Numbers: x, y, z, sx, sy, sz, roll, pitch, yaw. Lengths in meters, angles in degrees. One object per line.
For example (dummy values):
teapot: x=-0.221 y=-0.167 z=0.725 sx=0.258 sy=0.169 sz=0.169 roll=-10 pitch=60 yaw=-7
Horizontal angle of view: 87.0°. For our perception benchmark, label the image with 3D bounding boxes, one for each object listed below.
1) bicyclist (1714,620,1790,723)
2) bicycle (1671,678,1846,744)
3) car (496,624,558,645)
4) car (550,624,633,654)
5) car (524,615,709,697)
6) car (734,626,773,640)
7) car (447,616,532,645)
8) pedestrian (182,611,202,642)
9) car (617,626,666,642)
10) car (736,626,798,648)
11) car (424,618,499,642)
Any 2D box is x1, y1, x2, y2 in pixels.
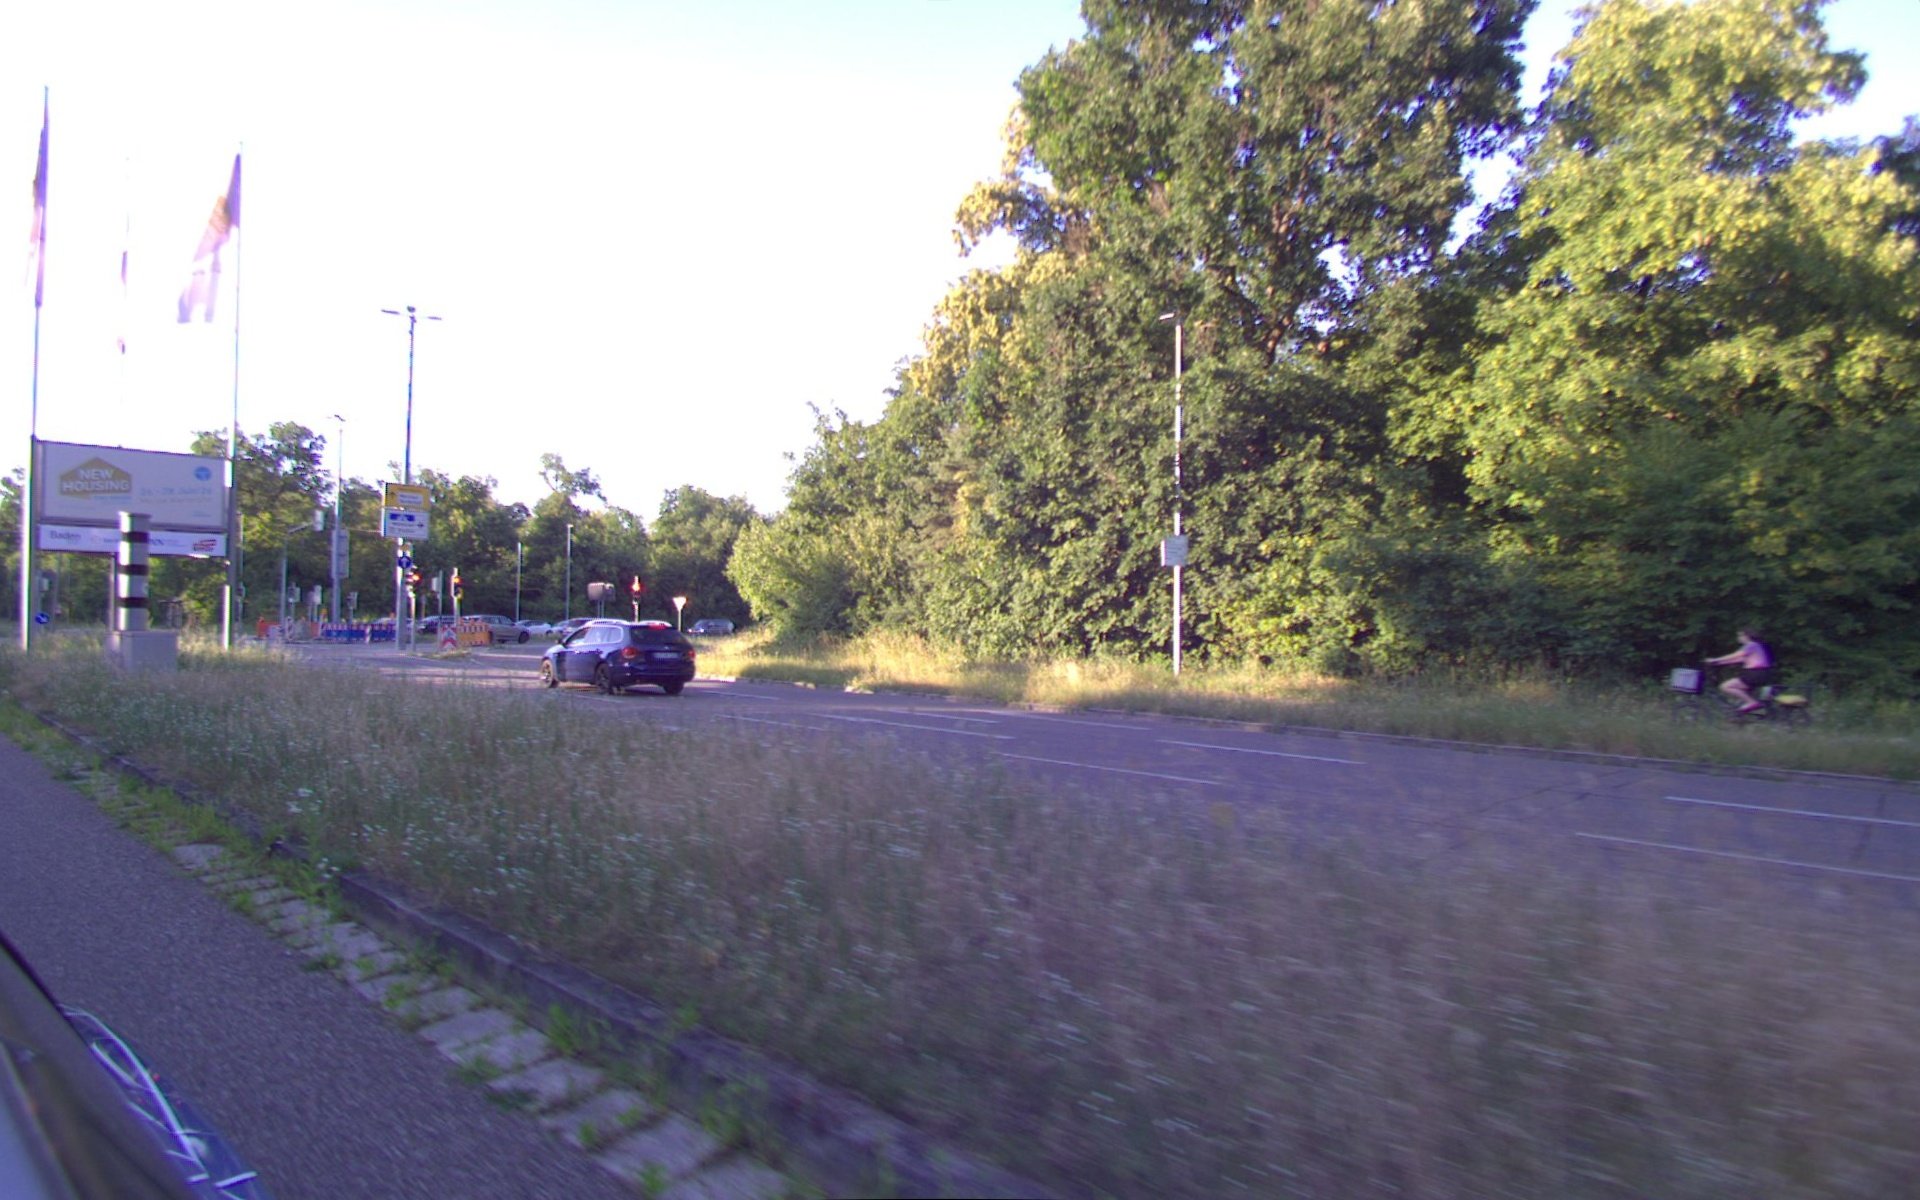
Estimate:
bicyclist: x=11.595 y=1.025 z=14.821 sx=0.822 sy=1.440 sz=0.579 roll=-1 pitch=-2 yaw=44
bicycle: x=11.674 y=1.594 z=14.845 sx=1.959 sy=0.810 sz=0.579 roll=-1 pitch=-2 yaw=44
car: x=-32.318 y=2.564 z=75.647 sx=1.712 sy=1.467 sz=4.197 roll=0 pitch=-1 yaw=25
car: x=-22.548 y=2.359 z=62.150 sx=2.000 sy=1.674 sz=4.783 roll=2 pitch=-1 yaw=24
car: x=-7.311 y=1.125 z=21.293 sx=4.456 sy=1.545 sz=1.799 roll=-1 pitch=-4 yaw=44
car: x=-21.561 y=3.419 z=105.926 sx=1.873 sy=1.432 sz=4.198 roll=0 pitch=-2 yaw=24
car: x=-27.254 y=1.737 z=58.733 sx=1.986 sy=1.636 sz=4.366 roll=-1 pitch=-1 yaw=21
pedestrian: x=-45.672 y=1.557 z=60.209 sx=0.573 sy=1.814 sz=0.743 roll=0 pitch=-1 yaw=27
car: x=-28.747 y=3.060 z=91.542 sx=1.712 sy=1.467 sz=4.363 roll=0 pitch=-1 yaw=25
car: x=-15.210 y=2.902 z=79.960 sx=4.590 sy=1.738 sz=1.874 roll=2 pitch=-2 yaw=-44
car: x=-31.843 y=1.899 z=64.738 sx=1.712 sy=1.467 sz=4.197 roll=0 pitch=-1 yaw=25
